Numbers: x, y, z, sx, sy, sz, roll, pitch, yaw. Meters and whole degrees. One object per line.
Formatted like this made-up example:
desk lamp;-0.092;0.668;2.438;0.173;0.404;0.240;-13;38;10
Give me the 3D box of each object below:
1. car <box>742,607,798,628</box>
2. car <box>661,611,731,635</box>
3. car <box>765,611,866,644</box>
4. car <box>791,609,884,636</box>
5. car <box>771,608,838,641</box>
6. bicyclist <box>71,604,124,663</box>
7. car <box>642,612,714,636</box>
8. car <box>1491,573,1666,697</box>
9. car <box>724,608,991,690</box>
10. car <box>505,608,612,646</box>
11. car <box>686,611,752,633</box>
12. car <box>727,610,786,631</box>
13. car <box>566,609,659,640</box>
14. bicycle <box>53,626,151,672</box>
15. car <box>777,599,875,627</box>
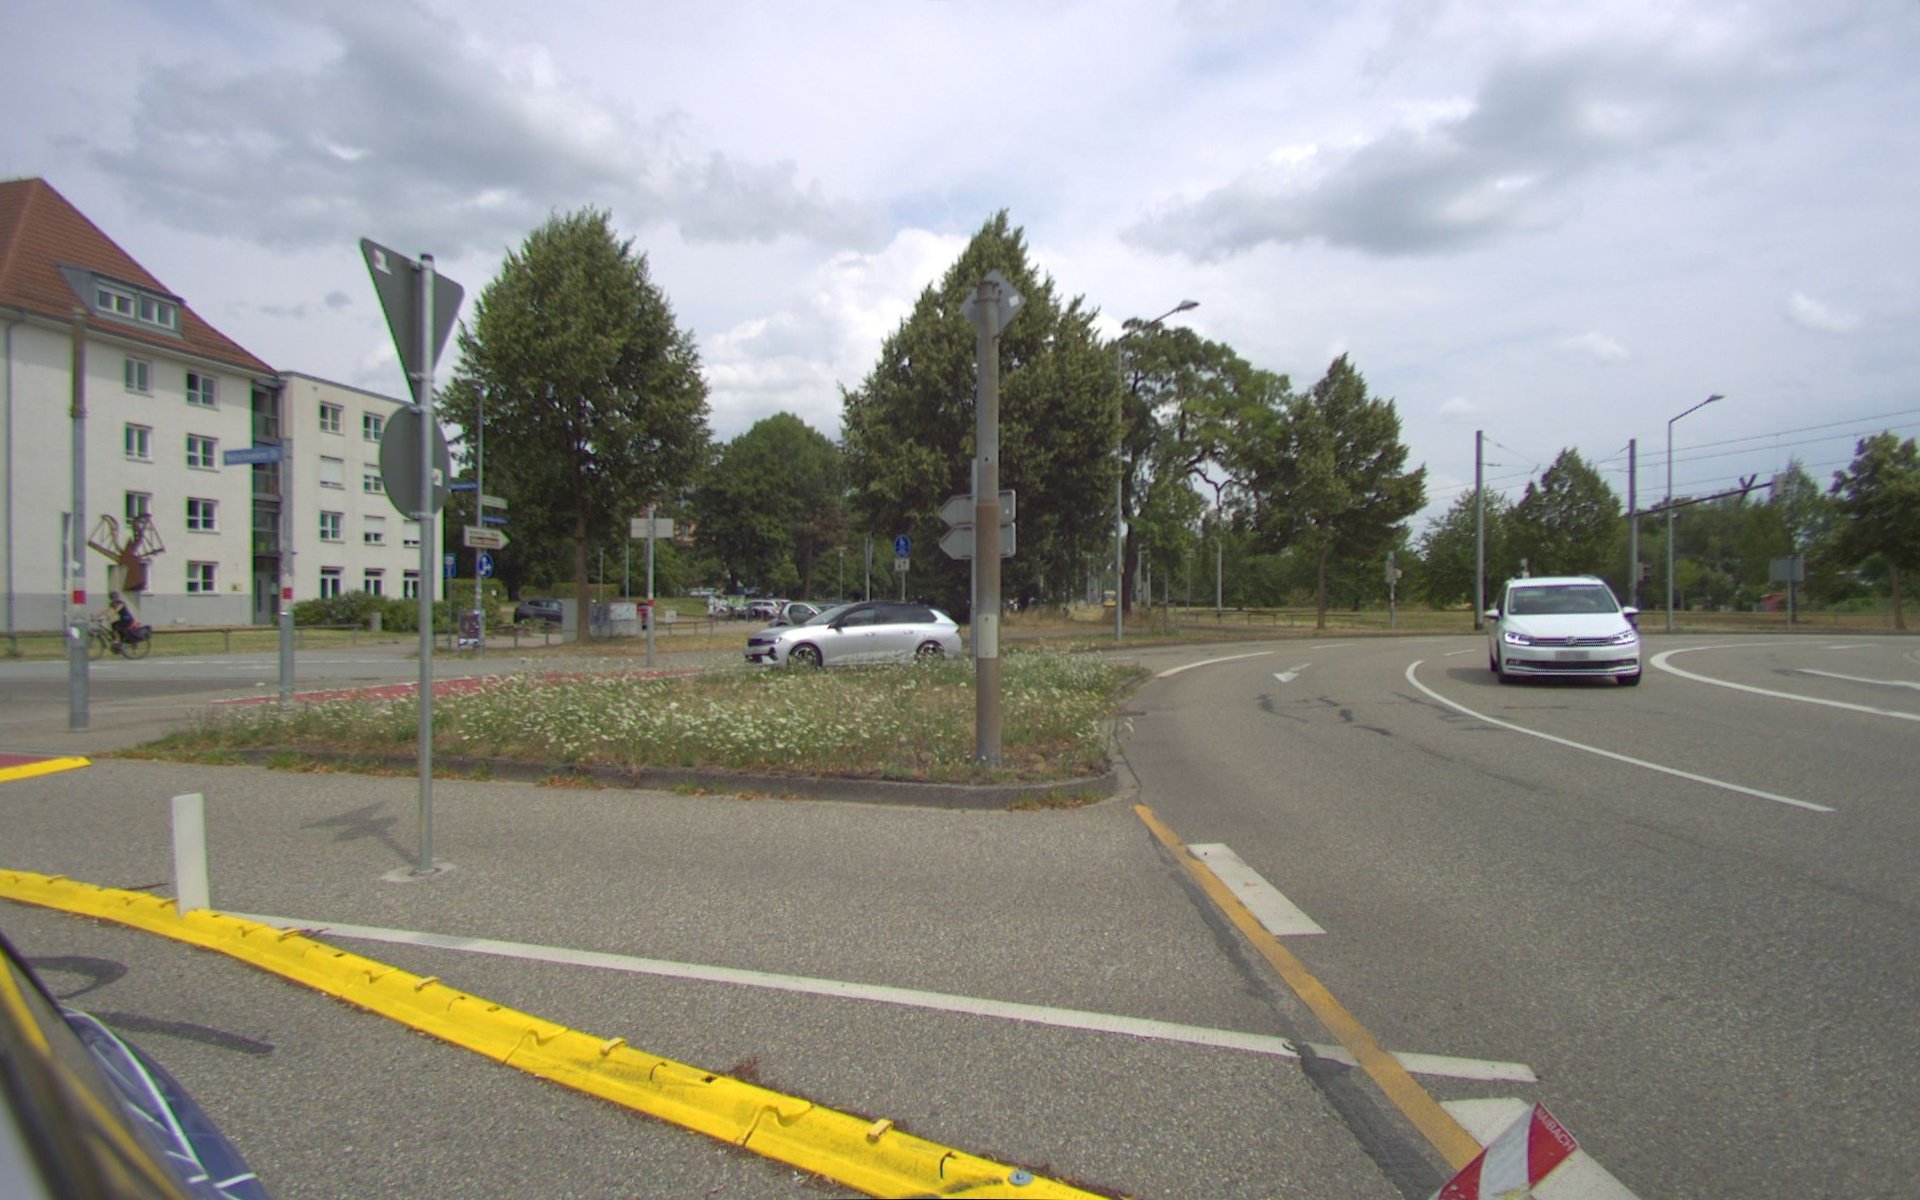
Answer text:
car;-14.849;1.367;79.262;3.963;1.586;1.812;-1;-1;10
car;-16.765;1.470;64.381;3.963;1.479;1.812;0;0;10
car;-7.242;1.376;50.866;4.652;1.482;1.828;-2;-1;8
car;-6.778;1.221;56.025;4.837;1.482;1.827;0;0;11
car;-7.402;1.157;48.325;2.879;1.434;1.482;-2;-2;4
bicyclist;-21.142;0.812;24.825;0.597;1.434;0.799;-1;-1;18
car;-17.348;1.461;62.328;3.963;1.479;1.610;0;0;10
car;9.627;0.542;16.087;1.928;1.678;4.316;-2;-2;26
car;-2.064;0.924;20.843;5.094;1.493;2.006;0;0;-29
car;-19.463;1.299;49.111;4.450;1.777;1.994;0;0;10
car;-16.220;1.472;68.216;3.963;1.479;1.812;0;0;10
car;-14.970;1.476;74.519;3.963;1.479;1.812;0;0;10
car;-18.706;1.319;54.547;4.361;1.610;1.993;0;0;12
bicycle;-21.102;1.195;24.929;0.597;1.054;1.819;-1;-1;17
car;-7.067;0.673;53.645;4.837;1.482;1.827;0;0;11
